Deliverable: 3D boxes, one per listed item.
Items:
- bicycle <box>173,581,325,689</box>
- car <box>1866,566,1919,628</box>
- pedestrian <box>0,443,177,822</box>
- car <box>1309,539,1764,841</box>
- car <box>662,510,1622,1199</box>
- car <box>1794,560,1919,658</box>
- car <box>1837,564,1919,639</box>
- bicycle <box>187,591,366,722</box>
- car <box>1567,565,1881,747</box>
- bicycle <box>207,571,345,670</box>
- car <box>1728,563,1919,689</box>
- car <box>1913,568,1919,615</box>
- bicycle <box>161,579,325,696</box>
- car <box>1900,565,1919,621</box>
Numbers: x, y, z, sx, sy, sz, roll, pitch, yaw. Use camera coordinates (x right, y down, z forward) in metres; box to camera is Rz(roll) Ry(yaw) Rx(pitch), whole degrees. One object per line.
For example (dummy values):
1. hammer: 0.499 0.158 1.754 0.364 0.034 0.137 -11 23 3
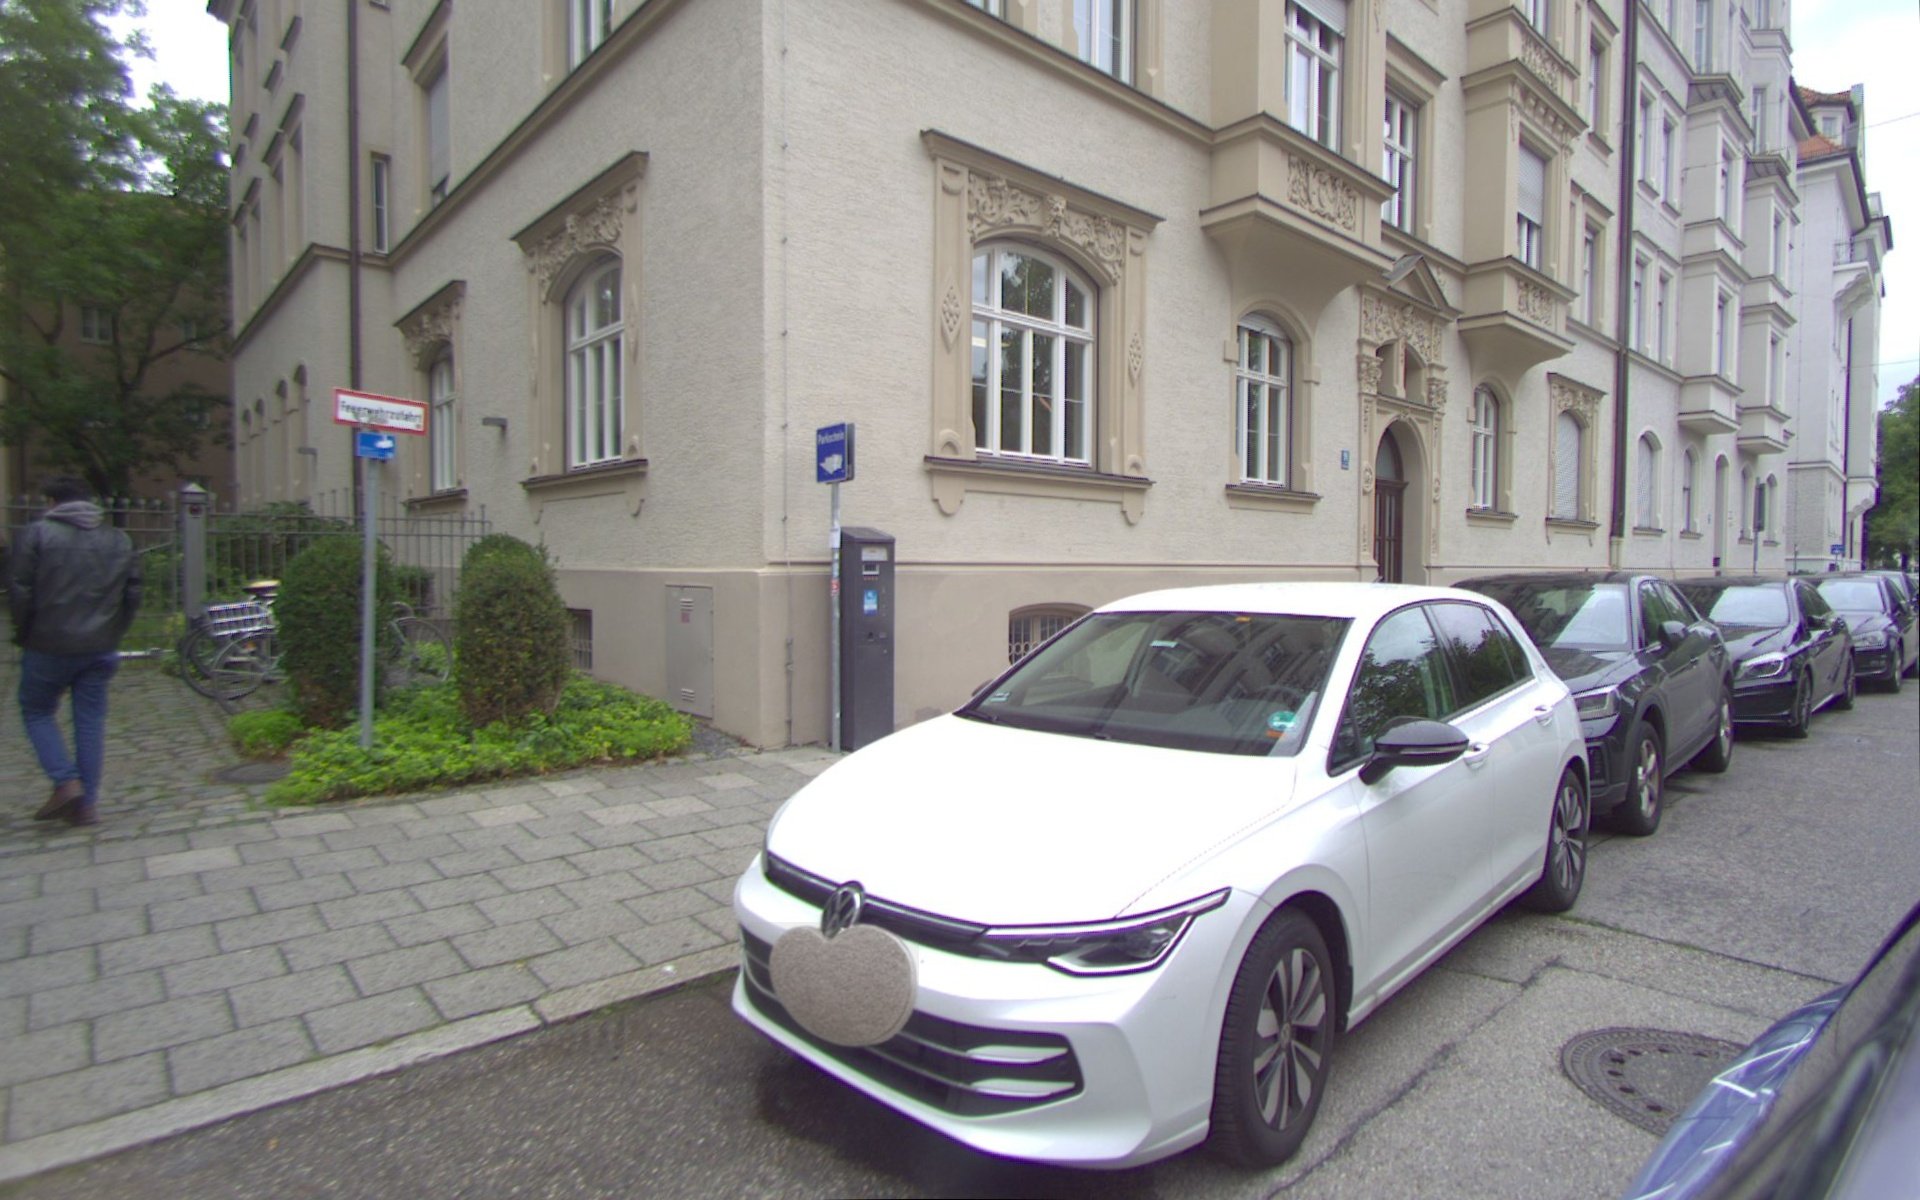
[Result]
1. bicycle: -6.649 0.297 9.487 1.110 0.919 0.453 -2 3 -40
2. car: 23.549 -0.117 24.717 3.932 1.408 1.713 -2 1 -42
3. pedestrian: -4.568 0.145 5.249 0.626 1.791 0.663 0 1 39
4. car: 4.258 0.447 7.172 1.792 1.517 4.017 -3 -1 45
5. car: 1.085 0.560 3.908 3.998 1.526 1.664 -1 1 -45
6. car: 15.988 0.088 17.600 3.890 1.535 1.745 -2 2 -42
7. car: 19.717 -0.030 21.134 3.535 1.458 1.659 -2 2 -41
8. bicycle: -5.364 0.412 7.965 1.110 0.919 0.453 -2 3 -40
9. car: 7.833 0.433 10.243 3.954 1.415 1.744 -3 1 -41
10. bicycle: -6.933 0.183 10.278 1.110 0.919 0.453 -2 3 -40
11. car: 11.775 0.254 13.530 3.931 1.435 1.644 -2 1 -41
12. car: 30.489 -0.313 31.011 4.019 1.408 1.711 -2 1 -45
13. bicycle: -6.198 0.299 8.769 1.110 0.919 0.453 -2 3 -40
14. car: 26.995 -0.240 27.665 4.019 1.489 1.711 -2 1 -45
